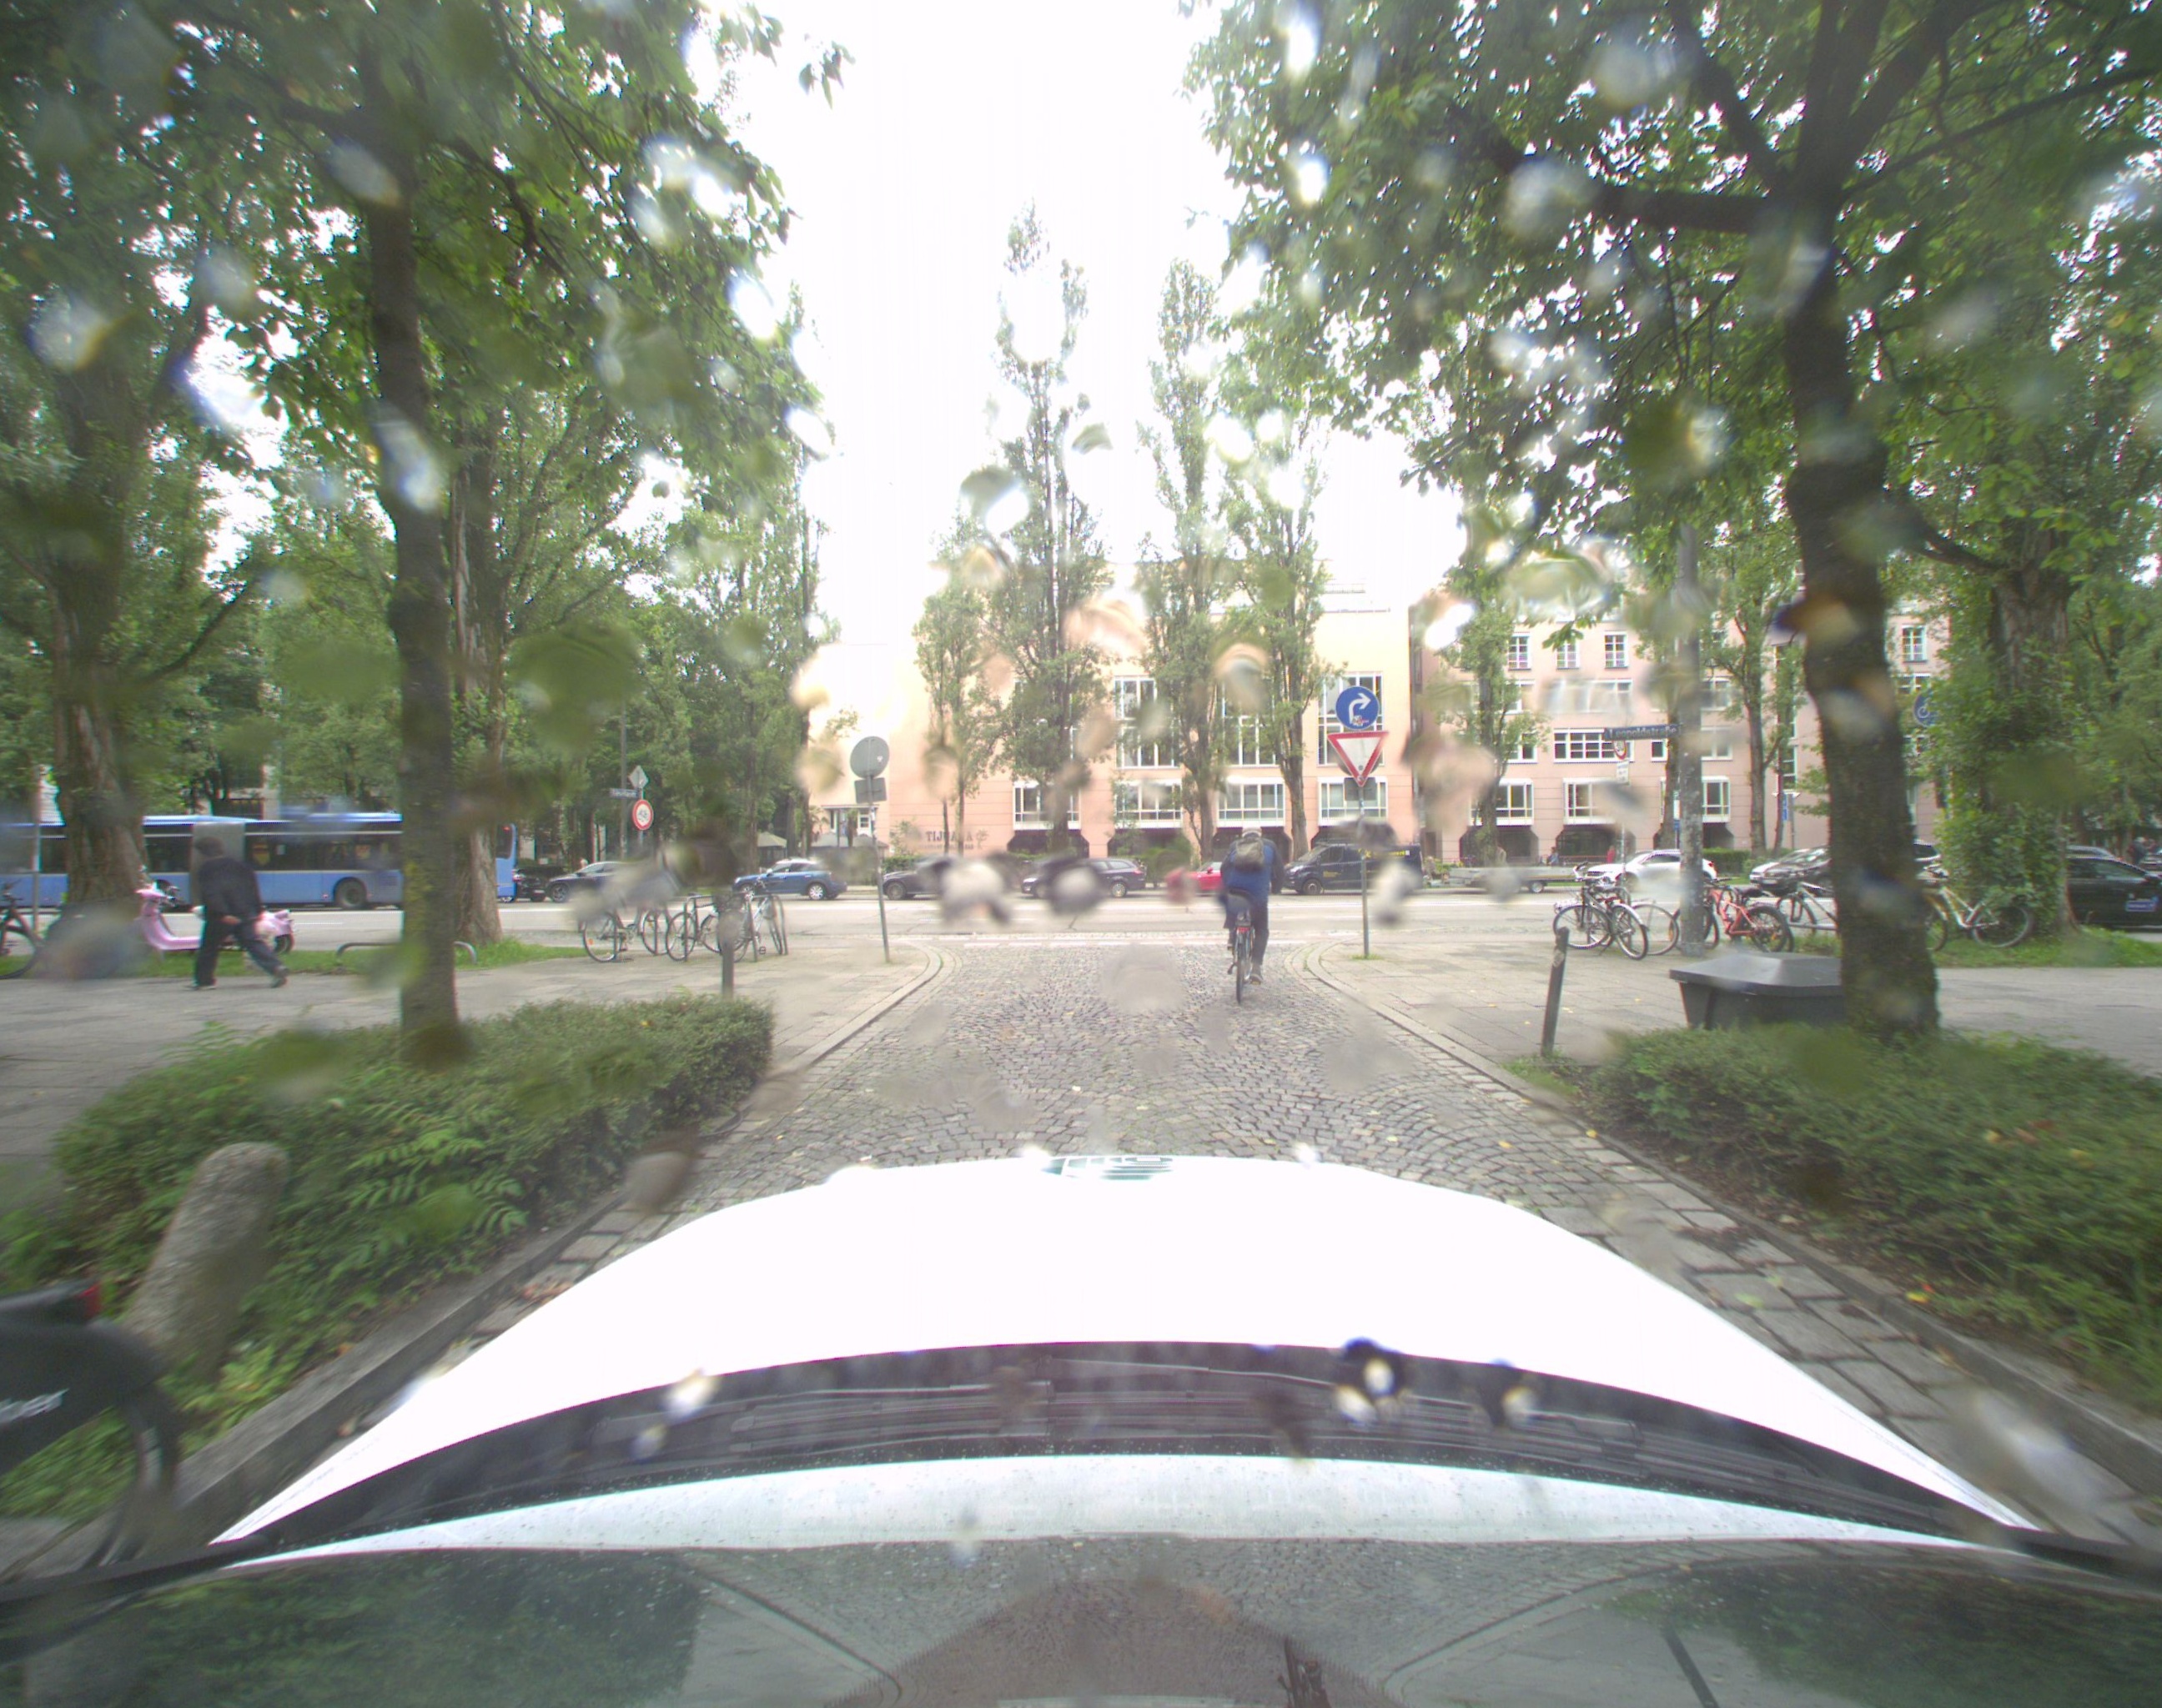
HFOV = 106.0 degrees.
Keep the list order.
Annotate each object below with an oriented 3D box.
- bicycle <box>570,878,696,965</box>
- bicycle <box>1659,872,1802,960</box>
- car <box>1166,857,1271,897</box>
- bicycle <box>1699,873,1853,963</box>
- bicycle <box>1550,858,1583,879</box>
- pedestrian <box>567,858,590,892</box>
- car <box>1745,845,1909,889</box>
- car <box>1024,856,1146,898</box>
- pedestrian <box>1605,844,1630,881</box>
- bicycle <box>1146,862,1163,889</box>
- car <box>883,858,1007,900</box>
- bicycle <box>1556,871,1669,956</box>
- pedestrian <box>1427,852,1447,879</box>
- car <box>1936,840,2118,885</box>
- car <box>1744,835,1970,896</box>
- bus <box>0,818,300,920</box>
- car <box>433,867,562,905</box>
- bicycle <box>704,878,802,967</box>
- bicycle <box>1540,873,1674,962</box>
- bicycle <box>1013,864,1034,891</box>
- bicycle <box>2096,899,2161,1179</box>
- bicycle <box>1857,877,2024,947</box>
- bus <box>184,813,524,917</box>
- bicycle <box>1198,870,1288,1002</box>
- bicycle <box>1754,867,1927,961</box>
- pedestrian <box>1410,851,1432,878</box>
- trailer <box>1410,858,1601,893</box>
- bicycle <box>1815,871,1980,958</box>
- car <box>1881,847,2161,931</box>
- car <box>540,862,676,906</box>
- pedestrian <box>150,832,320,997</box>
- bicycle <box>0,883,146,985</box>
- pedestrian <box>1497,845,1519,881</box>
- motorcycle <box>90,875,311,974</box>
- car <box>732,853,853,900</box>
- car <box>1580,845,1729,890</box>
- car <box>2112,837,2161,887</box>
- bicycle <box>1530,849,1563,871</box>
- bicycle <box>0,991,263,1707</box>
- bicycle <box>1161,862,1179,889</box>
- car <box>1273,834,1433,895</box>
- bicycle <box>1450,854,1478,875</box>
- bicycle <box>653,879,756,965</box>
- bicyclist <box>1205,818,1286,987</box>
[{"bbox_3d":[-6.367,0.918,11.714,0.487,1.093,1.988,-1,0,8],"label":"bicycle"},{"bbox_3d":[8.420,0.764,10.667,0.472,1.050,1.878,-1,-1,4],"label":"bicycle"},{"bbox_3d":[5.178,0.848,31.104,3.842,1.449,1.681,-1,0,5],"label":"car"},{"bbox_3d":[8.892,0.772,10.519,0.472,1.050,1.878,-1,-1,4],"label":"bicycle"},{"bbox_3d":[26.204,0.778,43.978,0.671,1.124,1.991,-1,0,3],"label":"bicycle"},{"bbox_3d":[-25.520,1.047,41.387,0.726,1.713,0.710,0,-1,3],"label":"pedestrian"},{"bbox_3d":[27.543,0.462,30.175,4.297,1.542,2.000,-1,0,-1],"label":"car"},{"bbox_3d":[0.191,0.862,31.498,4.590,1.529,1.795,-1,0,2],"label":"car"},{"bbox_3d":[25.036,0.378,37.996,0.726,1.713,0.710,0,-1,3],"label":"pedestrian"},{"bbox_3d":[3.181,0.927,35.566,0.671,1.124,1.743,-1,0,3],"label":"bicycle"},{"bbox_3d":[-5.234,0.943,31.732,4.482,1.529,1.795,-1,0,2],"label":"car"},{"bbox_3d":[7.404,0.786,11.437,0.472,1.050,1.879,-1,0,4],"label":"bicycle"},{"bbox_3d":[17.865,0.579,40.841,0.726,1.369,0.710,0,-1,3],"label":"pedestrian"},{"bbox_3d":[35.038,0.314,30.278,4.292,1.542,2.002,-1,0,3],"label":"car"},{"bbox_3d":[23.208,0.345,24.525,4.779,1.722,2.001,-1,-1,3],"label":"car"},{"bbox_3d":[-31.723,0.497,26.580,9.727,3.052,2.928,-1,0,1],"label":"bus"},{"bbox_3d":[-23.289,1.249,32.605,3.854,1.412,1.794,-1,0,2],"label":"car"},{"bbox_3d":[-4.560,0.917,11.443,0.487,1.093,1.706,-1,0,8],"label":"bicycle"},{"bbox_3d":[6.886,0.788,10.781,0.473,1.050,1.874,-1,-1,-3],"label":"bicycle"},{"bbox_3d":[-2.514,1.026,35.919,0.671,1.124,1.991,-1,0,3],"label":"bicycle"},{"bbox_3d":[4.539,0.765,2.627,0.471,1.136,1.882,-1,0,11],"label":"bicycle"},{"bbox_3d":[11.372,0.738,10.869,0.468,0.818,1.837,-1,-1,8],"label":"bicycle"},{"bbox_3d":[-23.289,0.348,26.389,8.456,3.052,2.929,-1,0,2],"label":"bus"},{"bbox_3d":[1.686,0.751,8.265,0.711,1.148,1.908,-1,-1,16],"label":"bicycle"},{"bbox_3d":[9.864,0.730,10.684,0.509,1.105,1.932,-1,-1,2],"label":"bicycle"},{"bbox_3d":[17.077,0.521,40.896,0.711,1.369,0.725,0,-1,-27],"label":"pedestrian"},{"bbox_3d":[15.996,0.789,30.986,5.993,1.199,2.407,-1,0,3],"label":"trailer"},{"bbox_3d":[10.656,0.747,10.730,0.509,1.038,1.837,-1,-1,8],"label":"bicycle"},{"bbox_3d":[18.033,0.616,15.139,4.411,1.427,1.759,0,1,6],"label":"car"},{"bbox_3d":[-18.332,1.136,31.682,4.206,1.601,1.795,-1,0,2],"label":"car"},{"bbox_3d":[-9.290,0.639,8.987,0.952,1.711,0.858,-1,0,0],"label":"pedestrian"},{"bbox_3d":[-12.672,0.970,10.058,1.604,1.188,0.583,-1,0,2],"label":"bicycle"},{"bbox_3d":[20.333,0.434,38.790,0.726,1.713,0.710,0,-1,3],"label":"pedestrian"},{"bbox_3d":[-12.023,0.916,11.234,2.002,1.196,0.622,-1,0,-42],"label":"motorcycle"},{"bbox_3d":[-11.231,0.878,31.857,4.050,1.732,1.794,-1,-2,1],"label":"car"},{"bbox_3d":[21.327,0.522,30.400,4.201,1.542,1.808,-1,-2,4],"label":"car"},{"bbox_3d":[41.903,0.268,30.197,4.728,1.797,2.001,-1,0,1],"label":"car"},{"bbox_3d":[25.187,0.308,44.140,0.671,1.124,2.109,-1,0,3],"label":"bicycle"},{"bbox_3d":[-2.562,0.900,1.238,1.767,1.143,0.549,0,0,-29],"label":"bicycle"},{"bbox_3d":[3.884,0.919,35.541,0.671,1.124,1.743,-1,0,3],"label":"bicycle"},{"bbox_3d":[10.297,0.392,31.187,5.457,2.197,2.025,-1,0,2],"label":"car"},{"bbox_3d":[20.846,0.544,44.375,0.671,1.124,1.991,-1,0,3],"label":"bicycle"},{"bbox_3d":[-5.330,0.927,11.631,0.487,1.093,1.706,-1,0,8],"label":"bicycle"},{"bbox_3d":[1.674,0.463,8.244,0.716,1.619,0.760,-1,0,17],"label":"bicyclist"}]
